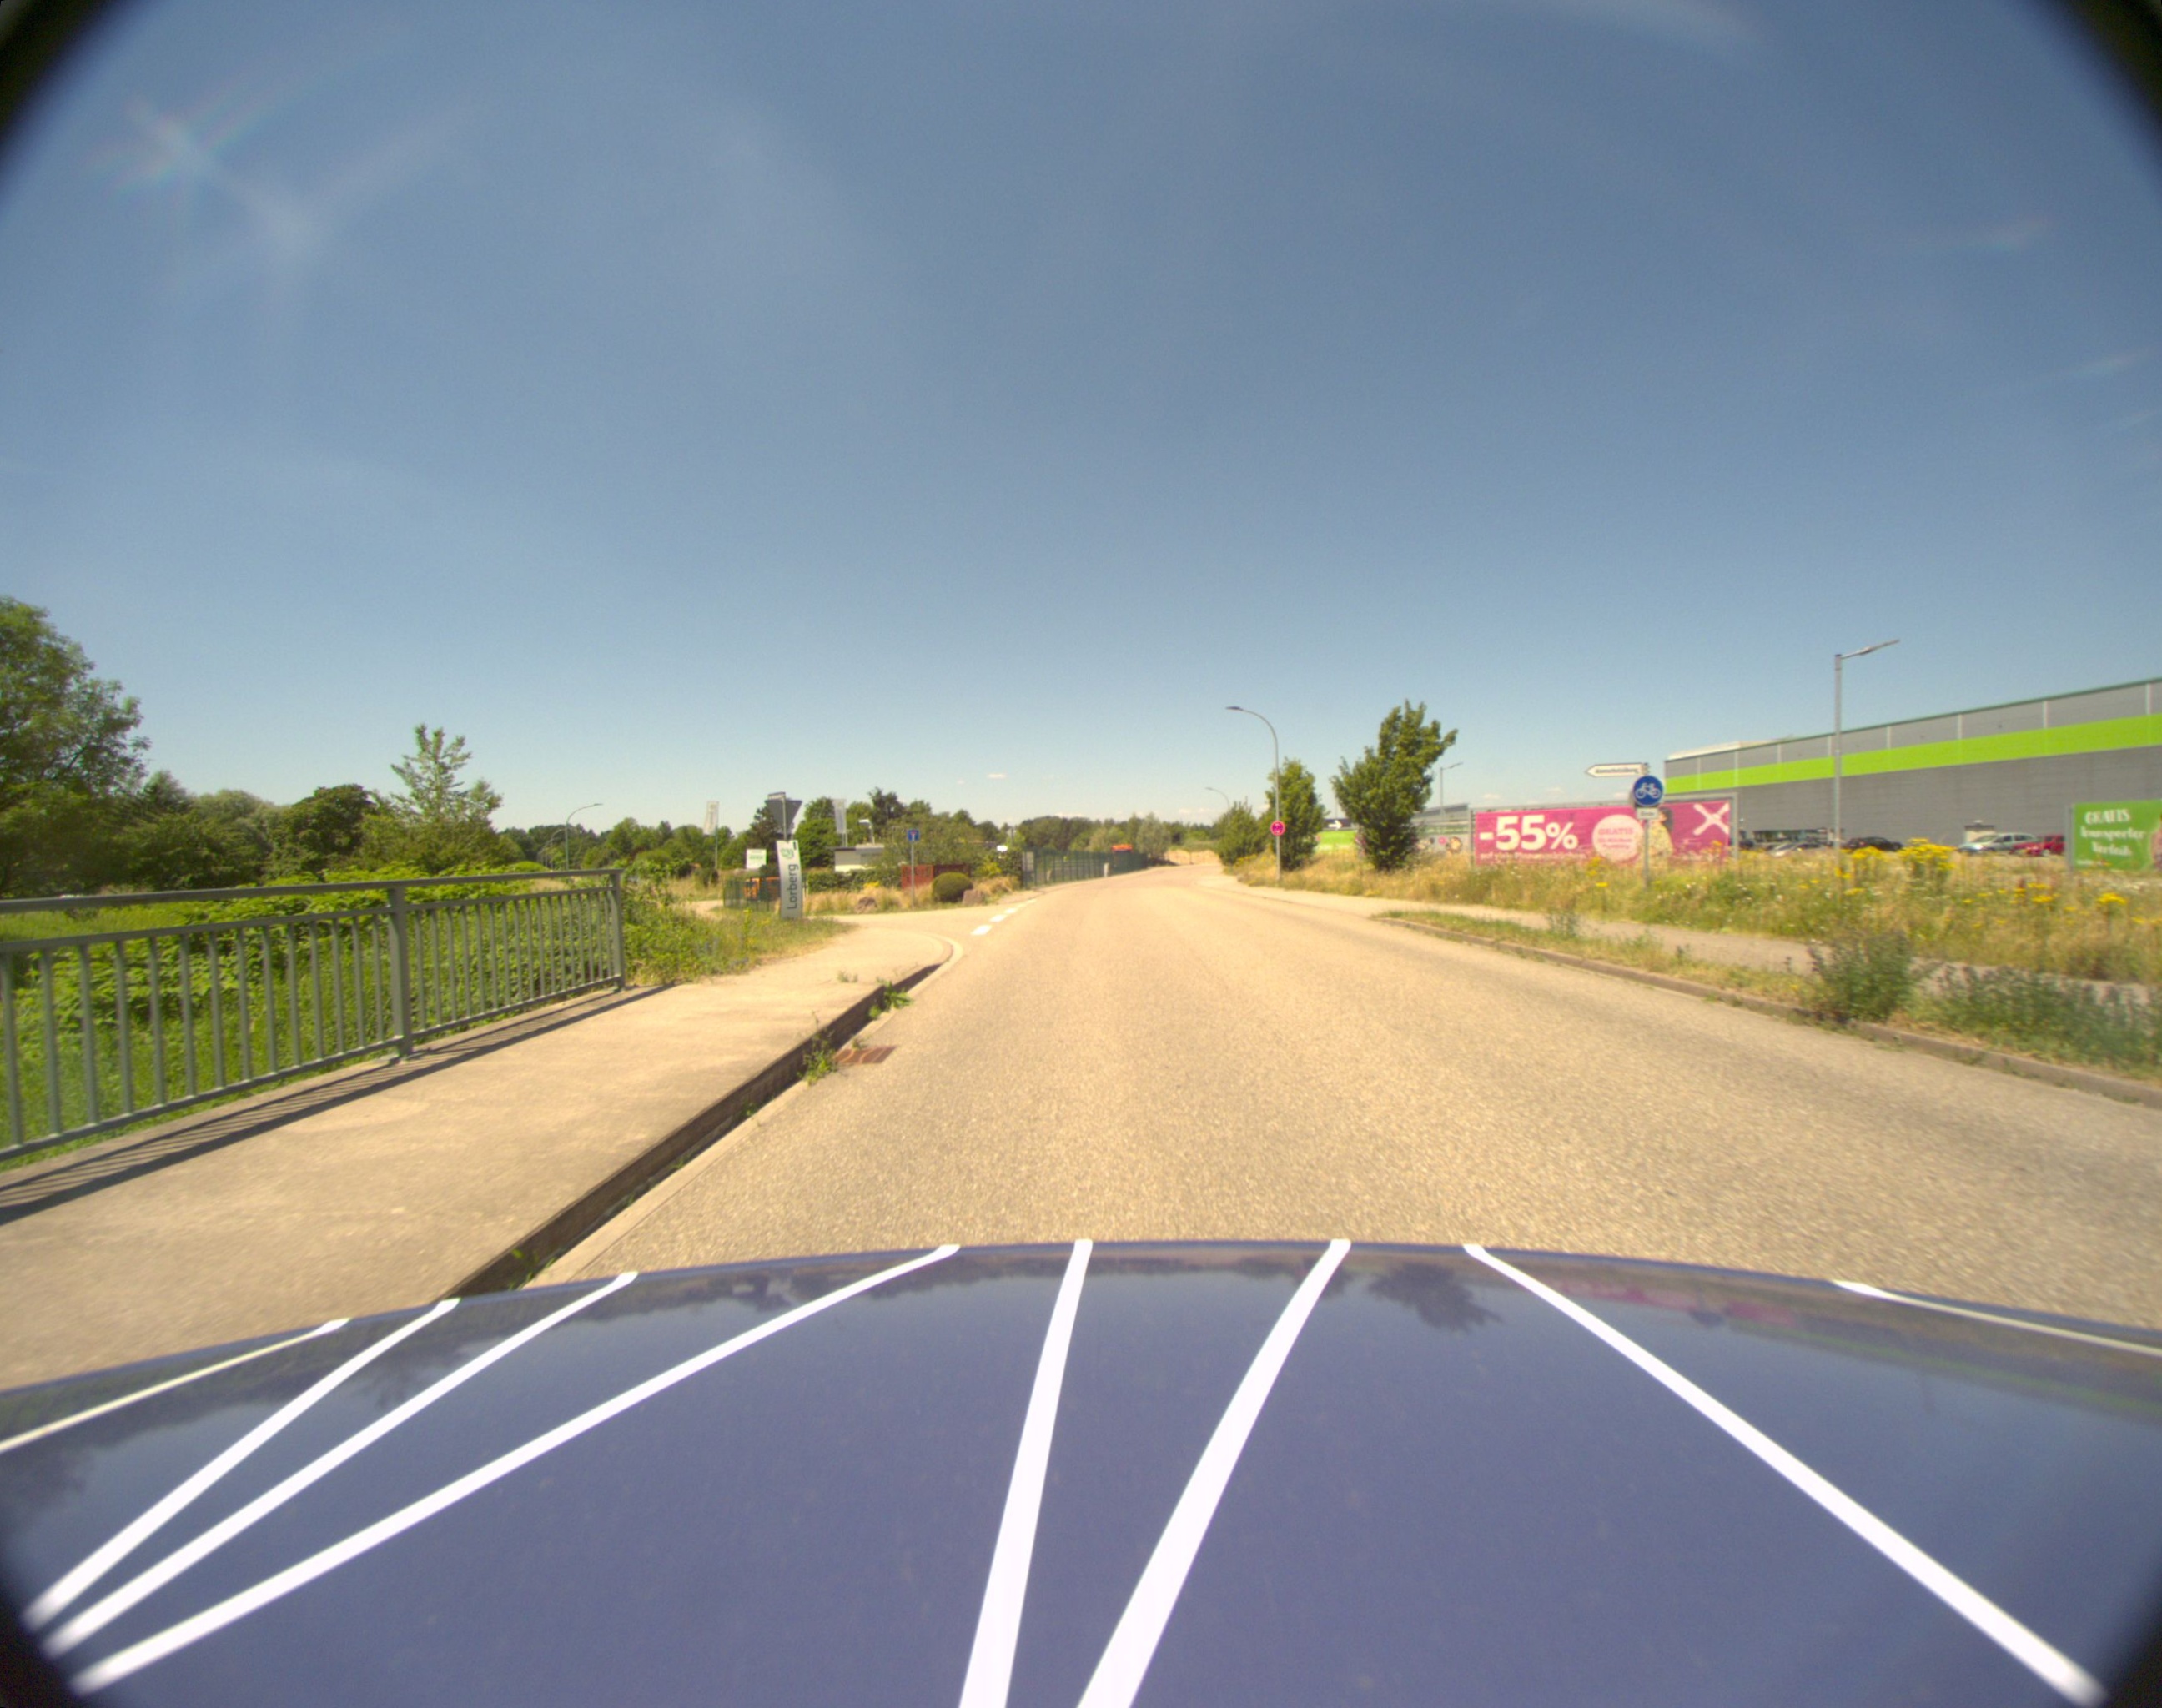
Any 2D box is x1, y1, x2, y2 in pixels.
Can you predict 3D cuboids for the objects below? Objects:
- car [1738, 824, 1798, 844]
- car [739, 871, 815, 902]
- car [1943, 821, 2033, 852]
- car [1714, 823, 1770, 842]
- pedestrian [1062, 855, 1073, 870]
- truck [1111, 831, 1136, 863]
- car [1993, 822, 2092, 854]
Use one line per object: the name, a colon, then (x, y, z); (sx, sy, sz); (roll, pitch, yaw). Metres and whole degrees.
car: (68.968, -1.982, 76.311); (3.995, 1.729, 2.000); (-3, 2, 6)
car: (-24.508, 2.598, 61.546); (1.995, 2.002, 5.584); (-3, 1, 30)
car: (67.392, -1.288, 56.519); (3.994, 2.002, 1.912); (-3, 1, 11)
car: (69.219, -2.272, 79.622); (3.995, 1.729, 2.000); (-3, 2, 6)
pedestrian: (-1.960, 1.208, 110.669); (1.304, 2.002, 1.217); (-3, 1, 9)
truck: (5.937, -0.960, 104.963); (2.846, 4.172, 8.135); (-3, 1, 5)
car: (67.332, -1.118, 53.273); (3.994, 2.002, 1.912); (-3, 1, 11)
